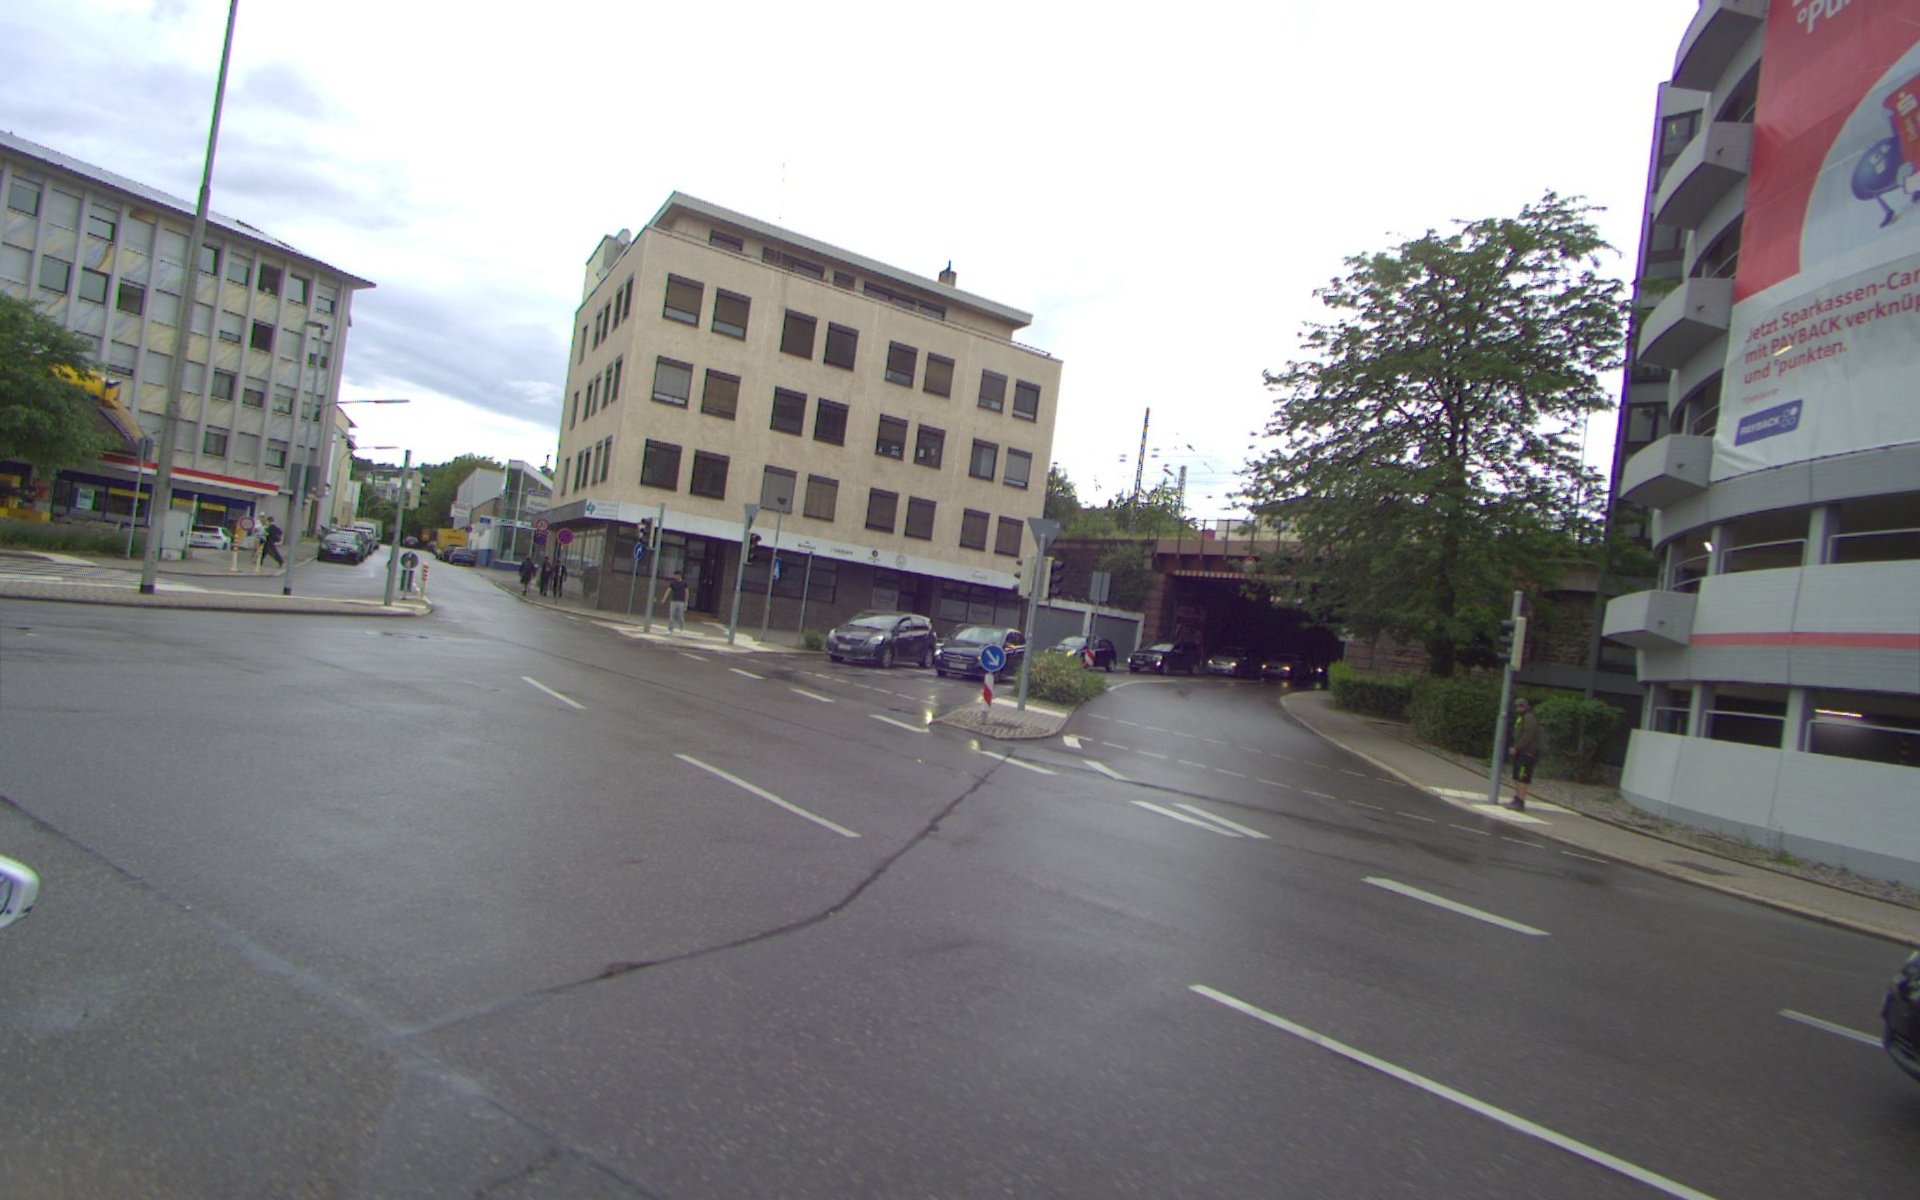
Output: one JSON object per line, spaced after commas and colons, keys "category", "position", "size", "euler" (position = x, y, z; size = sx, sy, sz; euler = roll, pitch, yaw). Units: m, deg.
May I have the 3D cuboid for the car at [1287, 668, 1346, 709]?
{"category": "car", "position": [22.331, 5.559, 62.966], "size": [1.974, 2.035, 3.985], "euler": [5, -5, 43]}

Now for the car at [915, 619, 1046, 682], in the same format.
{"category": "car", "position": [0.689, 1.486, 29.146], "size": [1.965, 1.462, 4.480], "euler": [7, -1, 27]}

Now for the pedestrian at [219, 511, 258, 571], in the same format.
{"category": "pedestrian", "position": [-33.639, -2.741, 46.904], "size": [1.134, 2.595, 1.004], "euler": [5, -3, 45]}

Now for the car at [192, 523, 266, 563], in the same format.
{"category": "car", "position": [-37.649, -2.883, 51.943], "size": [1.973, 1.533, 4.399], "euler": [6, -3, -23]}

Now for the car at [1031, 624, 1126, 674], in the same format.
{"category": "car", "position": [5.234, 2.145, 44.047], "size": [3.981, 1.602, 1.976], "euler": [11, -5, -44]}

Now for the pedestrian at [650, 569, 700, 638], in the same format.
{"category": "pedestrian", "position": [-8.142, 0.111, 28.747], "size": [0.761, 1.811, 0.859], "euler": [6, -3, 26]}

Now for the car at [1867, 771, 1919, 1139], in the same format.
{"category": "car", "position": [5.858, 1.722, 3.623], "size": [3.698, 1.508, 1.671], "euler": [5, -5, 45]}

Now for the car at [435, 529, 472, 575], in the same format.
{"category": "car", "position": [-47.277, -4.417, 93.871], "size": [2.360, 3.727, 4.959], "euler": [9, -3, -30]}

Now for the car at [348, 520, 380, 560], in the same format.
{"category": "car", "position": [-52.572, -5.242, 88.769], "size": [1.980, 3.005, 4.546], "euler": [9, -4, -31]}

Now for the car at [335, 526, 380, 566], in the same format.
{"category": "car", "position": [-35.625, -3.140, 59.493], "size": [1.981, 1.885, 4.546], "euler": [9, -4, -31]}

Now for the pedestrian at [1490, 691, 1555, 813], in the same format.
{"category": "pedestrian", "position": [9.377, 2.526, 16.785], "size": [0.499, 1.915, 0.543], "euler": [6, 2, -10]}

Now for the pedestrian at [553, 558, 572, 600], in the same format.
{"category": "pedestrian", "position": [-17.375, -0.898, 43.956], "size": [0.475, 1.761, 0.571], "euler": [9, -3, -30]}

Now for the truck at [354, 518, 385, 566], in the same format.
{"category": "truck", "position": [-55.952, -5.429, 95.254], "size": [1.980, 3.956, 5.444], "euler": [9, -3, -31]}

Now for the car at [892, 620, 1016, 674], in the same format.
{"category": "car", "position": [-0.131, 1.651, 34.314], "size": [1.968, 1.462, 4.473], "euler": [7, -1, 34]}

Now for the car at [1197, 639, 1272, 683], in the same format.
{"category": "car", "position": [14.722, 3.264, 53.813], "size": [3.981, 1.802, 1.976], "euler": [11, -5, -44]}

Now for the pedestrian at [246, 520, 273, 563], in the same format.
{"category": "pedestrian", "position": [-26.701, -2.209, 38.347], "size": [0.472, 1.531, 0.574], "euler": [8, -2, -10]}

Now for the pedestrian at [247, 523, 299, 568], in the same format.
{"category": "pedestrian", "position": [-24.914, -1.964, 36.499], "size": [1.095, 1.367, 0.917], "euler": [8, -3, -11]}

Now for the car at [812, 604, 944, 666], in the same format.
{"category": "car", "position": [-2.286, 1.062, 29.490], "size": [1.963, 1.462, 4.484], "euler": [7, -1, 21]}

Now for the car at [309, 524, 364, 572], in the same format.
{"category": "car", "position": [-30.441, -2.470, 49.219], "size": [1.981, 1.885, 4.546], "euler": [9, -4, -31]}

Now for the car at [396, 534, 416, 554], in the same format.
{"category": "car", "position": [-70.457, -7.122, 128.036], "size": [1.979, 2.035, 3.974], "euler": [9, -4, -29]}

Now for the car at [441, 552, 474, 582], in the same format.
{"category": "car", "position": [-40.738, -2.681, 81.531], "size": [1.979, 2.035, 3.974], "euler": [9, -4, -29]}

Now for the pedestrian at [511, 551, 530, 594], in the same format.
{"category": "pedestrian", "position": [-18.881, -1.187, 43.193], "size": [0.475, 1.761, 0.571], "euler": [9, -3, -30]}

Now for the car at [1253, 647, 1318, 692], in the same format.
{"category": "car", "position": [18.926, 4.039, 58.424], "size": [1.974, 2.035, 3.985], "euler": [5, -5, 43]}

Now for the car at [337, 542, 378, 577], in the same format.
{"category": "car", "position": [-38.784, -2.570, 64.821], "size": [1.981, 1.885, 4.546], "euler": [9, -4, -31]}

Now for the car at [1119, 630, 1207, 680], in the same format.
{"category": "car", "position": [9.738, 2.660, 48.097], "size": [4.144, 1.802, 1.976], "euler": [11, -5, -44]}
